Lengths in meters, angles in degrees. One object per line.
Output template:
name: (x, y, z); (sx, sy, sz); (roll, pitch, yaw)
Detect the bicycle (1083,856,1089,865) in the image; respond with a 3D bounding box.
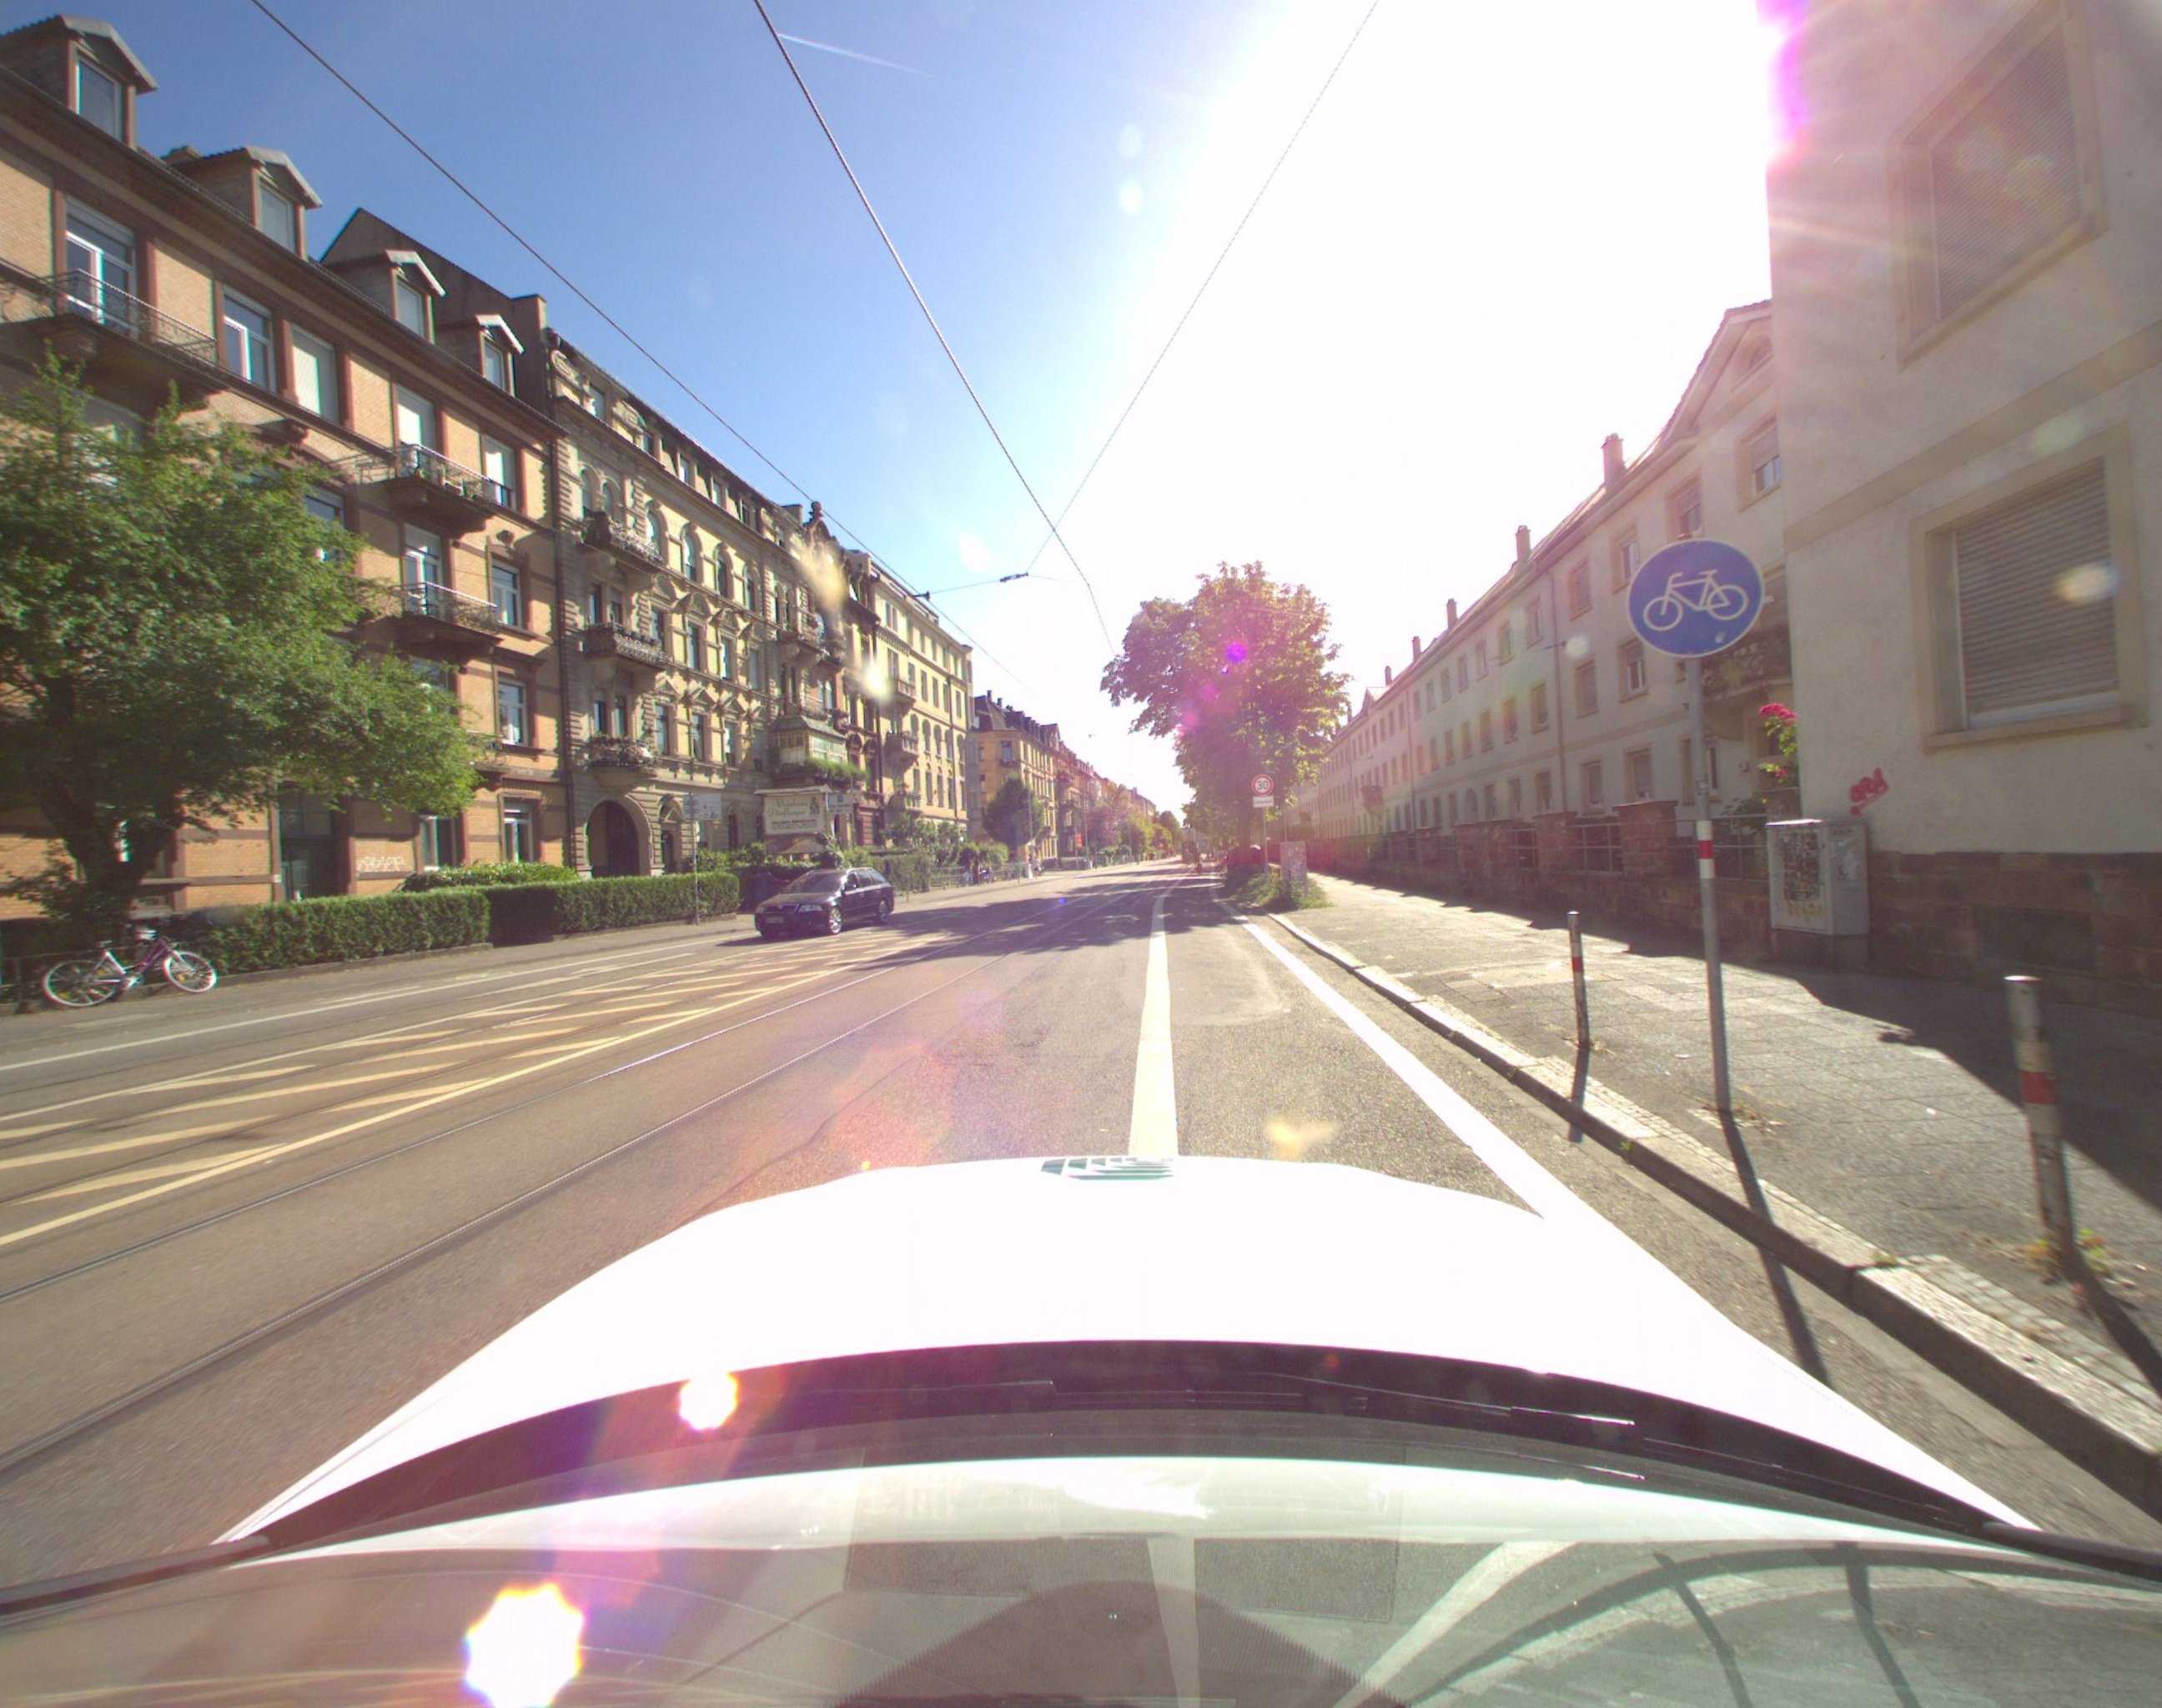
bicycle: (0.552, 0.771, 93.104); (0.333, 1.001, 1.874); (-2, 0, 9)

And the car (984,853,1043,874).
car: (-5.549, 0.782, 67.041); (4.416, 1.643, 1.973); (-2, 0, 11)

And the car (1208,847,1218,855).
car: (23.995, -0.522, 147.980); (1.738, 1.420, 4.010); (-4, 0, 8)

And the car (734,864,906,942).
car: (-6.016, 1.068, 19.539); (1.821, 1.518, 4.980); (-1, 0, 9)

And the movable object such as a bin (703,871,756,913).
movable object such as a bin: (-12.851, 1.381, 29.814); (1.311, 1.447, 1.174); (-2, 0, 10)

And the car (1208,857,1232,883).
car: (10.587, 1.201, 62.254); (1.656, 1.761, 4.241); (-3, 0, 8)

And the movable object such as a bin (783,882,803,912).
movable object such as a bin: (-10.713, 1.596, 30.293); (0.476, 1.086, 0.543); (-2, 0, 10)

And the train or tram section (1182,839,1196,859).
train or tram section: (18.881, -0.852, 142.632); (2.141, 3.431, 6.628); (-2, 0, 9)

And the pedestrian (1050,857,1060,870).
pedestrian: (-2.963, 1.073, 93.449); (0.895, 1.352, 0.579); (-5, -1, 10)

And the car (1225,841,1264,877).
car: (8.511, 0.234, 42.716); (1.734, 1.766, 4.488); (-2, 0, 8)

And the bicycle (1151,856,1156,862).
bicycle: (13.622, 0.898, 152.294); (0.687, 1.112, 1.723); (-4, 0, 9)

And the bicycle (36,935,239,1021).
bicycle: (-13.467, 1.734, 11.726); (0.339, 0.926, 1.950); (-2, 0, 14)

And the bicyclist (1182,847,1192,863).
bicyclist: (10.199, 0.080, 78.303); (0.617, 1.468, 0.632); (-2, 0, -25)

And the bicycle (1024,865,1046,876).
bicycle: (-4.084, 1.452, 72.559); (1.792, 0.914, 0.615); (-2, -2, -27)

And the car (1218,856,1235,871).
car: (16.603, 1.056, 93.037); (1.777, 1.464, 4.055); (-4, 0, 9)

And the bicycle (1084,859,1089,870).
bicycle: (0.656, 1.197, 92.314); (0.368, 1.126, 0.811); (-2, 0, 9)

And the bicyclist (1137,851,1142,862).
bicyclist: (8.795, 0.330, 122.106); (0.461, 1.618, 0.746); (-5, -1, 9)

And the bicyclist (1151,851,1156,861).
bicyclist: (13.586, 0.387, 152.343); (0.656, 1.801, 0.617); (-5, -1, 9)

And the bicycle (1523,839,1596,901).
bicycle: (8.921, 0.280, 15.254); (0.456, 1.092, 1.674); (-2, 0, 4)

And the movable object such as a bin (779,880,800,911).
movable object such as a bin: (-10.614, 1.518, 29.648); (0.476, 1.086, 0.543); (-2, 0, 10)

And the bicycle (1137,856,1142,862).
bicycle: (8.824, 0.721, 122.089); (0.457, 0.926, 2.208); (-5, 0, 9)

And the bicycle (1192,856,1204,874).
bicycle: (7.314, 0.668, 50.824); (0.687, 1.112, 1.723); (-2, 0, 9)

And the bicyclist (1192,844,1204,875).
bicyclist: (7.301, 0.339, 50.818); (0.723, 1.848, 0.838); (-2, 0, 8)

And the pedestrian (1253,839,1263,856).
pedestrian: (18.509, -0.683, 85.140); (0.755, 1.724, 0.583); (-2, 0, 38)

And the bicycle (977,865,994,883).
bicycle: (-6.020, 1.259, 51.297); (0.560, 1.033, 1.772); (-2, 0, 8)

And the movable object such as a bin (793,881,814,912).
movable object such as a bin: (-10.074, 1.536, 29.579); (0.476, 1.086, 0.543); (-2, 0, 10)

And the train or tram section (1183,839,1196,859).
train or tram section: (19.848, -0.894, 149.238); (2.141, 3.431, 6.628); (-2, 0, 9)

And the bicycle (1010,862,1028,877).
bicycle: (-4.489, 1.109, 58.891); (0.566, 1.033, 1.752); (-2, 1, -27)

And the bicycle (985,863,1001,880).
bicycle: (-5.749, 1.135, 53.417); (0.560, 1.033, 1.772); (-2, 0, 8)

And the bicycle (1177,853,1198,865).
bicycle: (10.277, 0.496, 78.417); (1.921, 1.112, 0.688); (-2, 0, -26)

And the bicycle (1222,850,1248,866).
bicycle: (11.155, 0.309, 59.024); (1.750, 1.078, 0.435); (-2, 0, 10)

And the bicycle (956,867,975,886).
bicycle: (-6.724, 1.312, 47.523); (0.559, 1.033, 1.772); (-1, 1, 9)

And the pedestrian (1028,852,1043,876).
pedestrian: (-3.409, 0.756, 60.883); (0.824, 1.724, 1.085); (-2, -1, 8)

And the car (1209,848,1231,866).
car: (12.395, 0.251, 72.756); (1.710, 1.473, 4.255); (-4, 0, 8)

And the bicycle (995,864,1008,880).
bicycle: (-5.527, 1.257, 56.515); (0.564, 1.033, 1.758); (1, 0, -15)
